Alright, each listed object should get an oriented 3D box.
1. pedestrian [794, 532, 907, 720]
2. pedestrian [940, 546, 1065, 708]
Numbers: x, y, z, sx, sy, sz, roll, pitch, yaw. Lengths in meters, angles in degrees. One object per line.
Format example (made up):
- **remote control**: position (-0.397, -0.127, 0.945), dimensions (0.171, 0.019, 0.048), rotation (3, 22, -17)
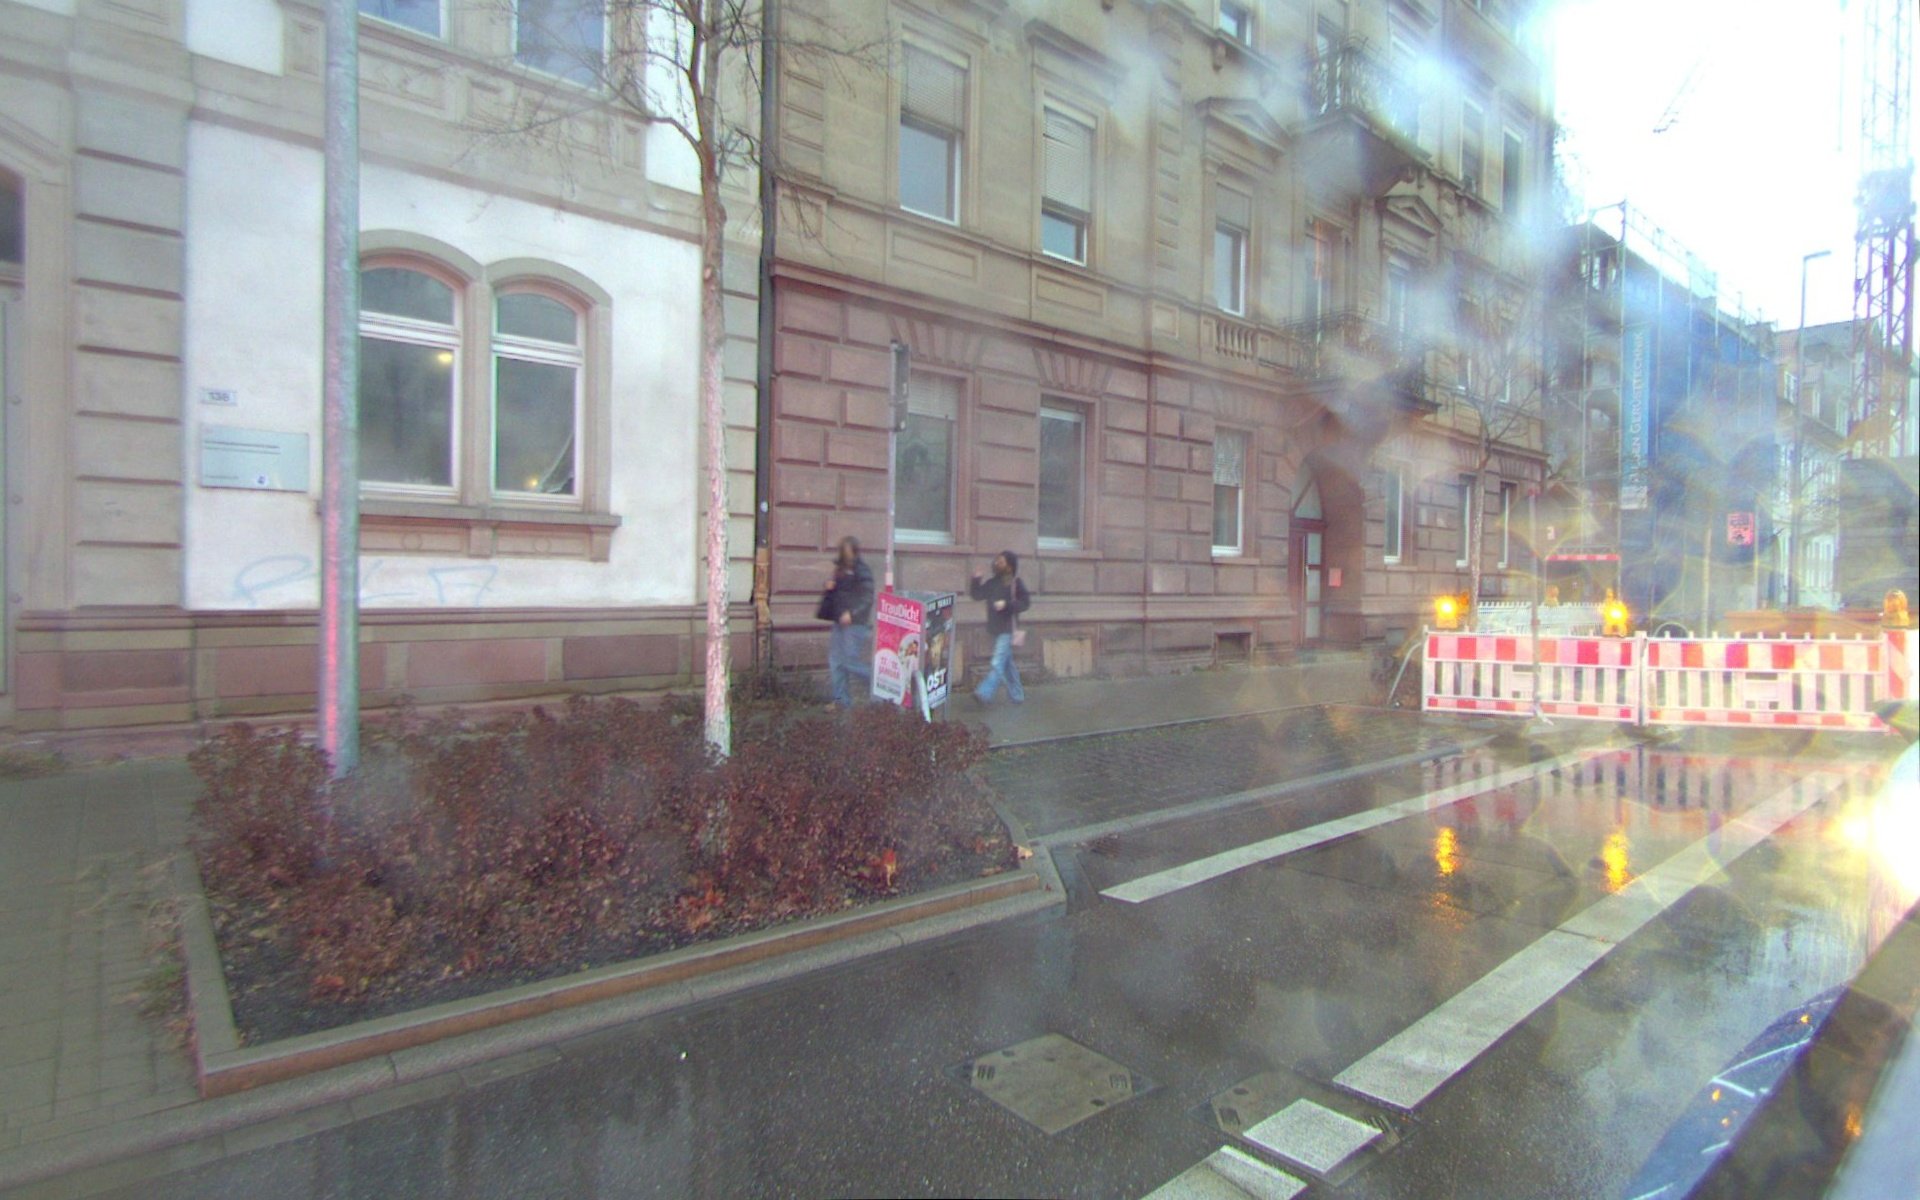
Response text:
- **pedestrian**: position (-1.048, 0.218, 9.647), dimensions (0.694, 1.693, 0.870), rotation (0, 2, -38)
- **pedestrian**: position (0.433, 0.241, 10.373), dimensions (0.913, 1.564, 0.870), rotation (0, 2, -40)
